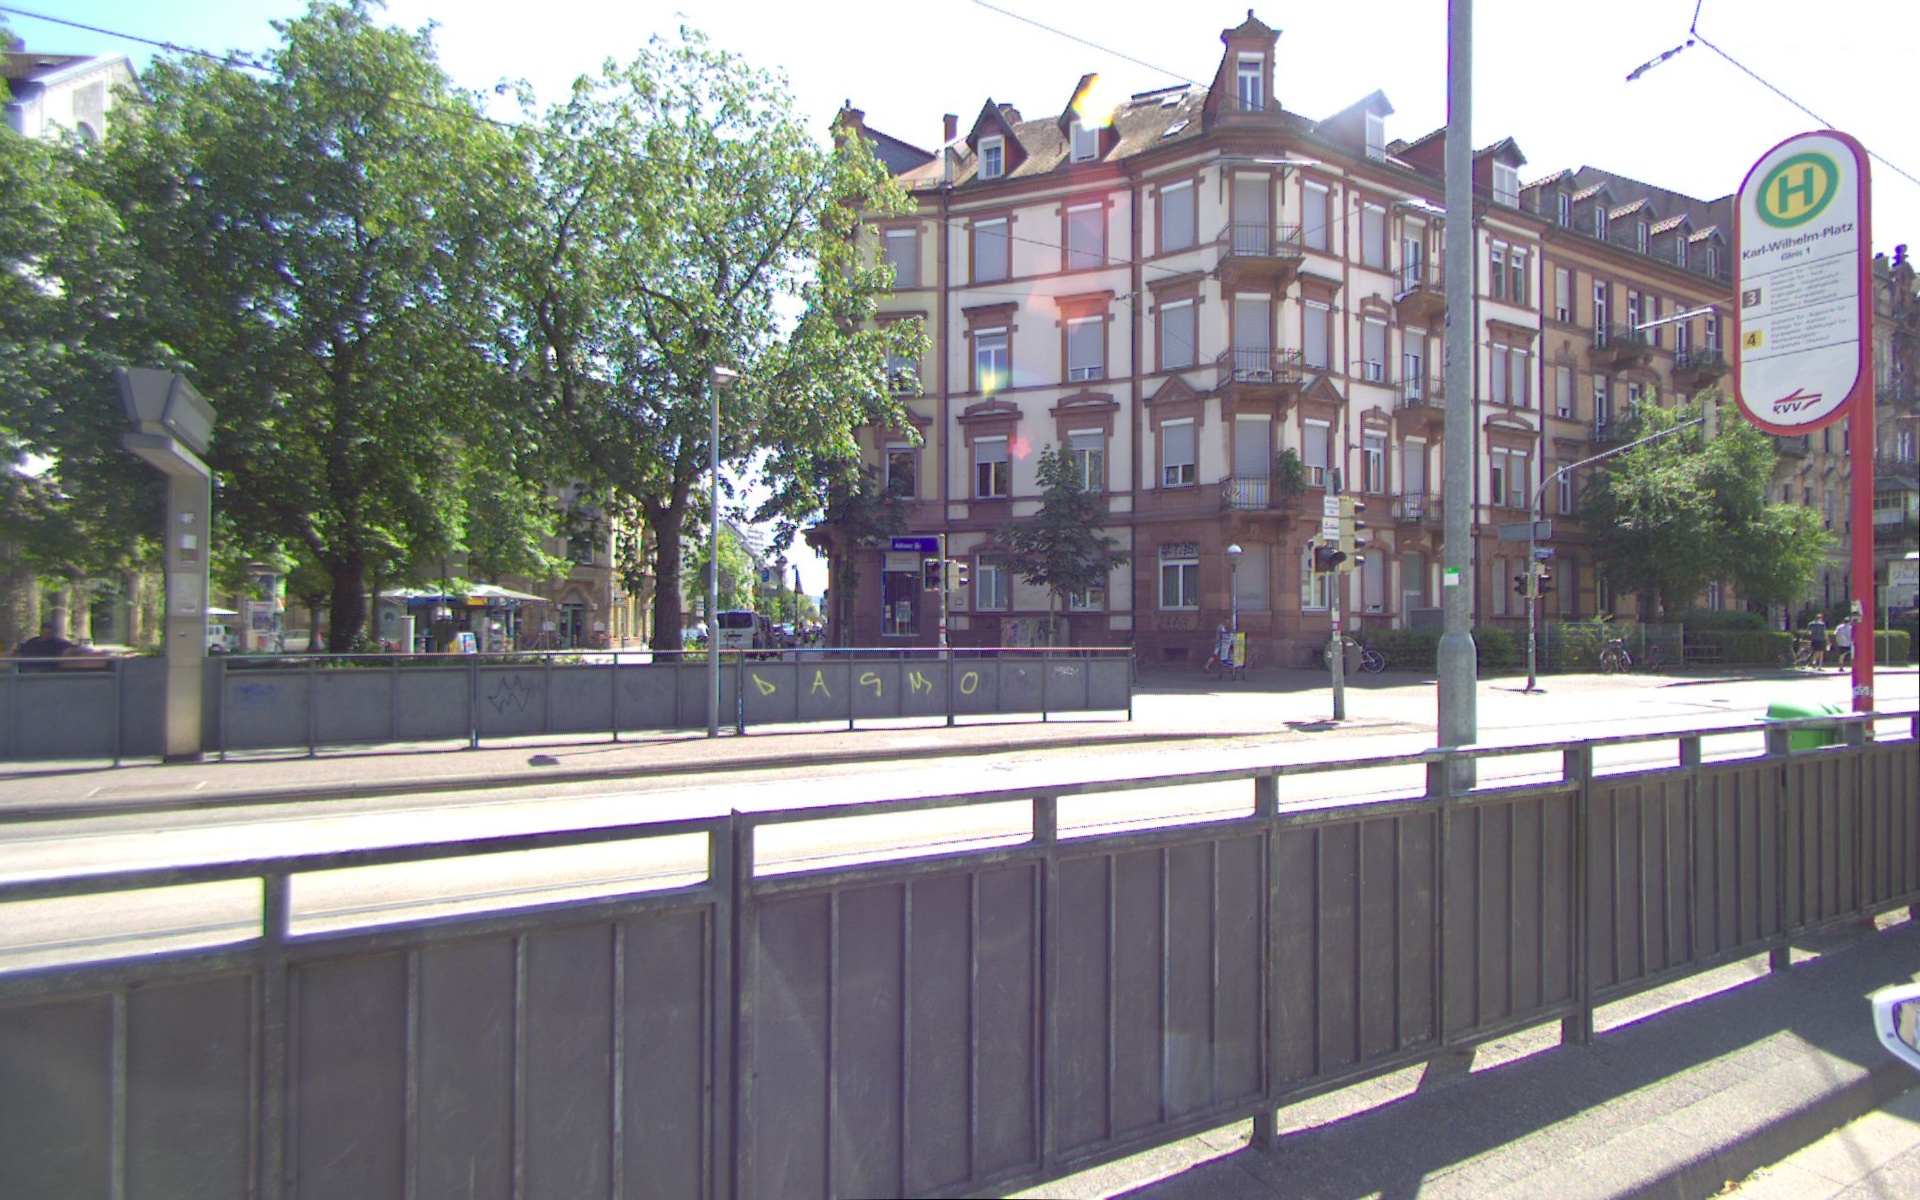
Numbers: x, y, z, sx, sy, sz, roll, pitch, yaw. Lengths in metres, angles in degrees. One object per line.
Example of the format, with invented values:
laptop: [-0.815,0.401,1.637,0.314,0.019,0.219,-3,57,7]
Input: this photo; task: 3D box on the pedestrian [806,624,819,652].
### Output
pedestrian: [-8.758,2.258,59.725,0.742,1.632,0.688,0,-1,-4]

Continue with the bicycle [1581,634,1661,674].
bicycle: [20.219,1.646,30.714,2.742,1.151,0.932,2,0,-31]

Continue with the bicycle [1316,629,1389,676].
bicycle: [11.656,1.559,29.860,1.923,1.312,0.564,2,0,11]

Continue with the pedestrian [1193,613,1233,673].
pedestrian: [7.357,1.250,29.198,1.041,1.712,0.723,0,-1,20]

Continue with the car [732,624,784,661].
car: [-9.636,2.012,48.285,1.893,1.541,3.998,2,0,-4]

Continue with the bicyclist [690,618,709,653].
bicyclist: [-12.254,1.674,47.268,0.686,1.613,0.849,1,-1,-4]

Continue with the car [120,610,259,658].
car: [-31.199,1.369,40.811,3.932,1.814,1.994,2,0,-14]

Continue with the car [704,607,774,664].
car: [-8.338,1.300,38.214,1.962,1.970,3.998,2,0,-4]

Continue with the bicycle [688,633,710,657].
bicycle: [-12.264,2.108,47.248,0.686,1.070,1.765,1,-1,-4]

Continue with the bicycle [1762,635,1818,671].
bicycle: [28.517,1.803,34.481,2.750,1.151,0.930,2,0,-39]

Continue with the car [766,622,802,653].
car: [-10.384,2.179,59.450,1.684,1.617,3.998,2,0,-4]

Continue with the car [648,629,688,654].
car: [-20.671,2.919,71.160,1.846,1.617,3.998,2,0,-4]

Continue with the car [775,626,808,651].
car: [-12.495,2.846,74.754,1.962,1.617,3.998,2,0,-4]

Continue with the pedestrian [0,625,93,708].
pedestrian: [-14.669,1.045,16.102,0.925,1.261,0.860,2,0,-24]

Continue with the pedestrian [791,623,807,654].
pedestrian: [-8.713,2.091,54.522,0.790,1.632,0.731,0,-1,-4]

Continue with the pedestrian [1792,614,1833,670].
pedestrian: [28.940,1.404,34.104,0.864,1.847,0.811,0,1,-32]

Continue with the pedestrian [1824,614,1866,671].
pedestrian: [29.468,1.409,33.444,0.864,1.847,0.811,0,1,-32]

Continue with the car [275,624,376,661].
car: [-32.086,2.162,50.886,3.920,1.730,1.761,2,0,-14]
